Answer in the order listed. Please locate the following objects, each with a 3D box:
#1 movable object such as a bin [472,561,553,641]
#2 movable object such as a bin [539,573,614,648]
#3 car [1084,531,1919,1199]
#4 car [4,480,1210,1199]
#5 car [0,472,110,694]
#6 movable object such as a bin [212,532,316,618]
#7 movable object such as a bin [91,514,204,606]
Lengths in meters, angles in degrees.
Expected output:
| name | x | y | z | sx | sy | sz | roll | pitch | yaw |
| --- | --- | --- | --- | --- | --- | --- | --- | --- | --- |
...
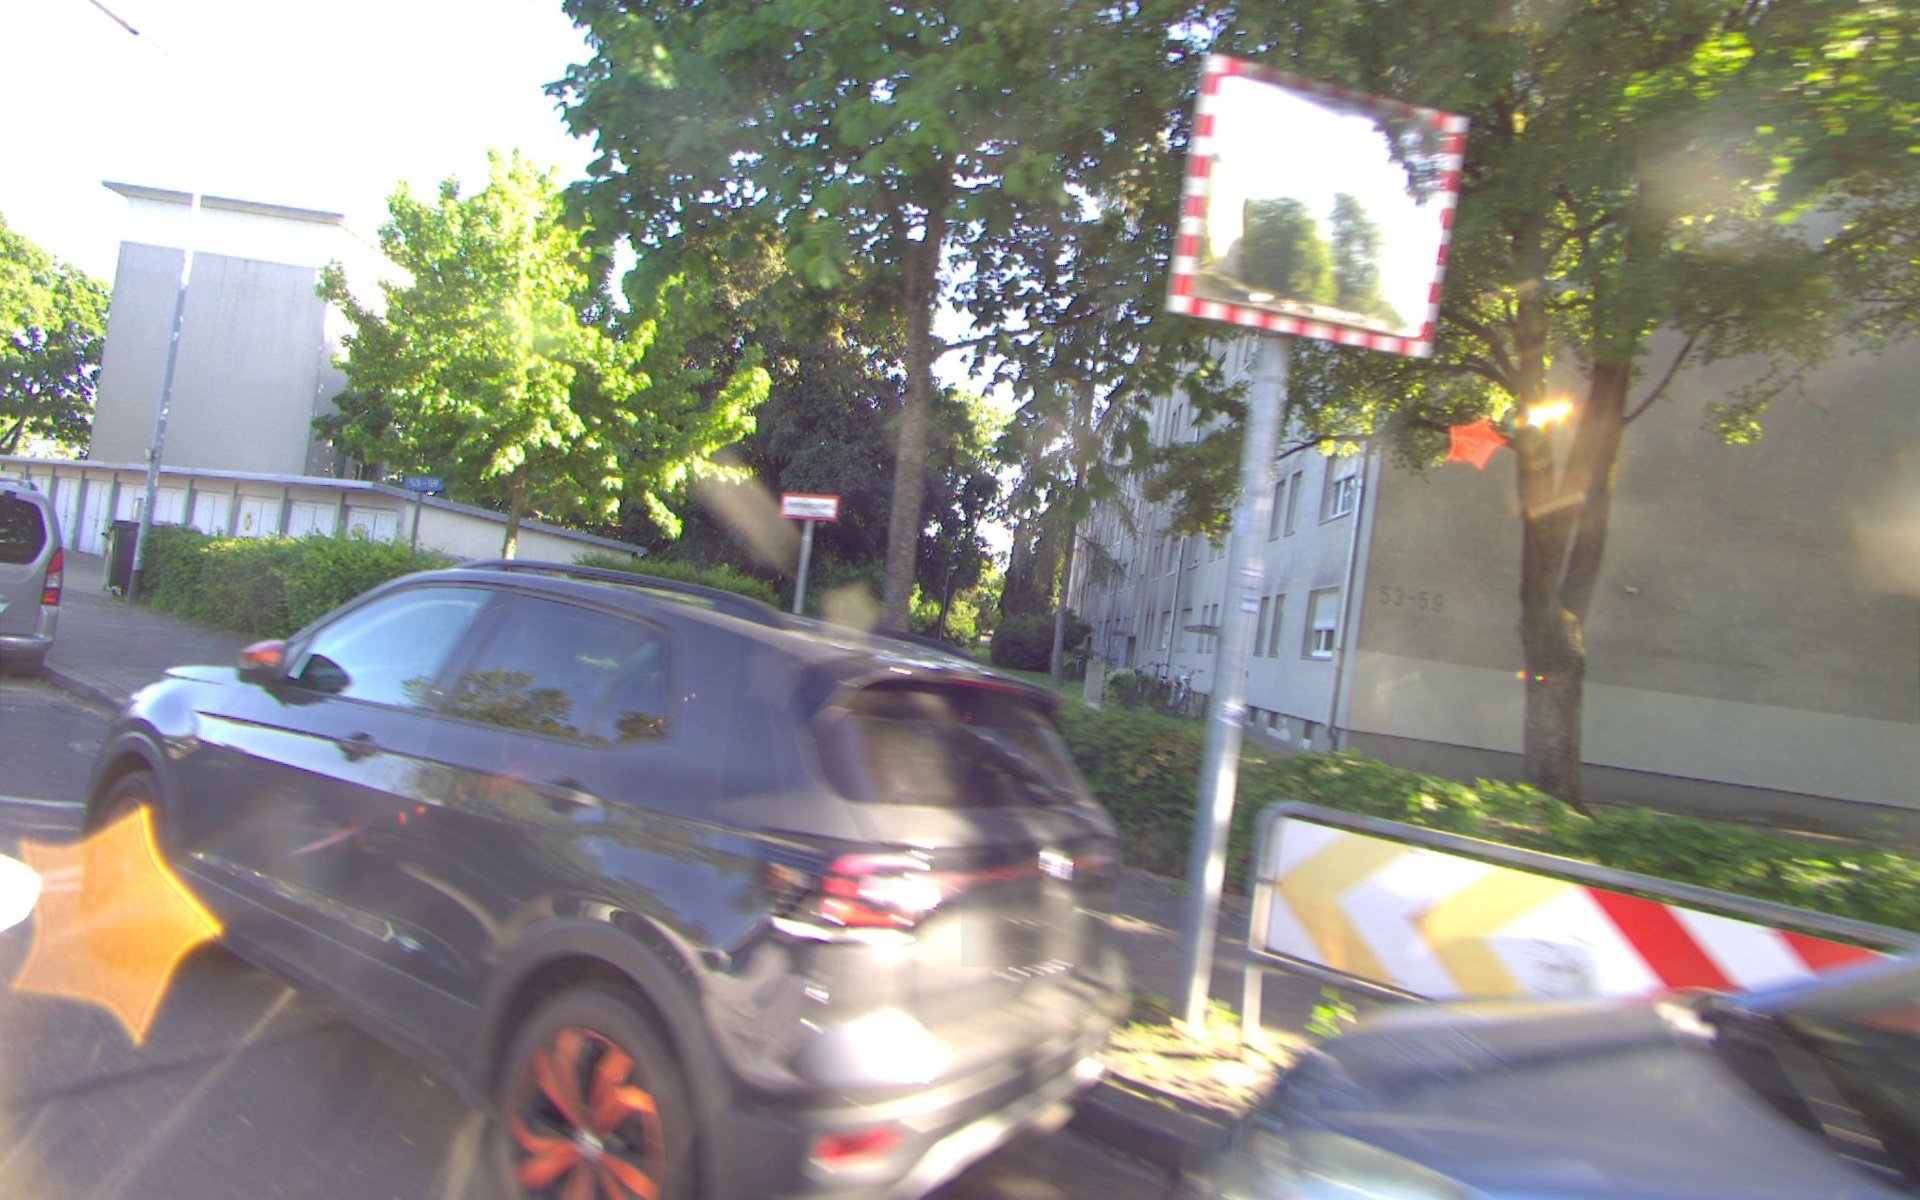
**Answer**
| name | x | y | z | sx | sy | sz | roll | pitch | yaw |
| --- | --- | --- | --- | --- | --- | --- | --- | --- | --- |
| movable object such as a bin | -8.969 | 0.031 | 20.175 | 0.821 | 1.433 | 1.076 | 5 | -3 | 38 |
| movable object such as a bin | -8.129 | 0.229 | 21.334 | 0.821 | 1.433 | 1.076 | 5 | -3 | 38 |
| car | 2.473 | 1.012 | 1.135 | 4.300 | 1.627 | 1.774 | 6 | -4 | 31 |
| car | -1.409 | 0.647 | 3.592 | 3.957 | 1.610 | 1.810 | 7 | -4 | 32 |
| car | -10.070 | -0.446 | 9.332 | 4.479 | 1.810 | 1.839 | 8 | -3 | 32 |
| movable object such as a bin | -12.581 | -0.446 | 18.191 | 1.039 | 1.362 | 1.248 | 5 | -3 | 44 |
| movable object such as a bin | -13.794 | -0.672 | 17.085 | 1.039 | 1.362 | 1.248 | 5 | -3 | 44 |
